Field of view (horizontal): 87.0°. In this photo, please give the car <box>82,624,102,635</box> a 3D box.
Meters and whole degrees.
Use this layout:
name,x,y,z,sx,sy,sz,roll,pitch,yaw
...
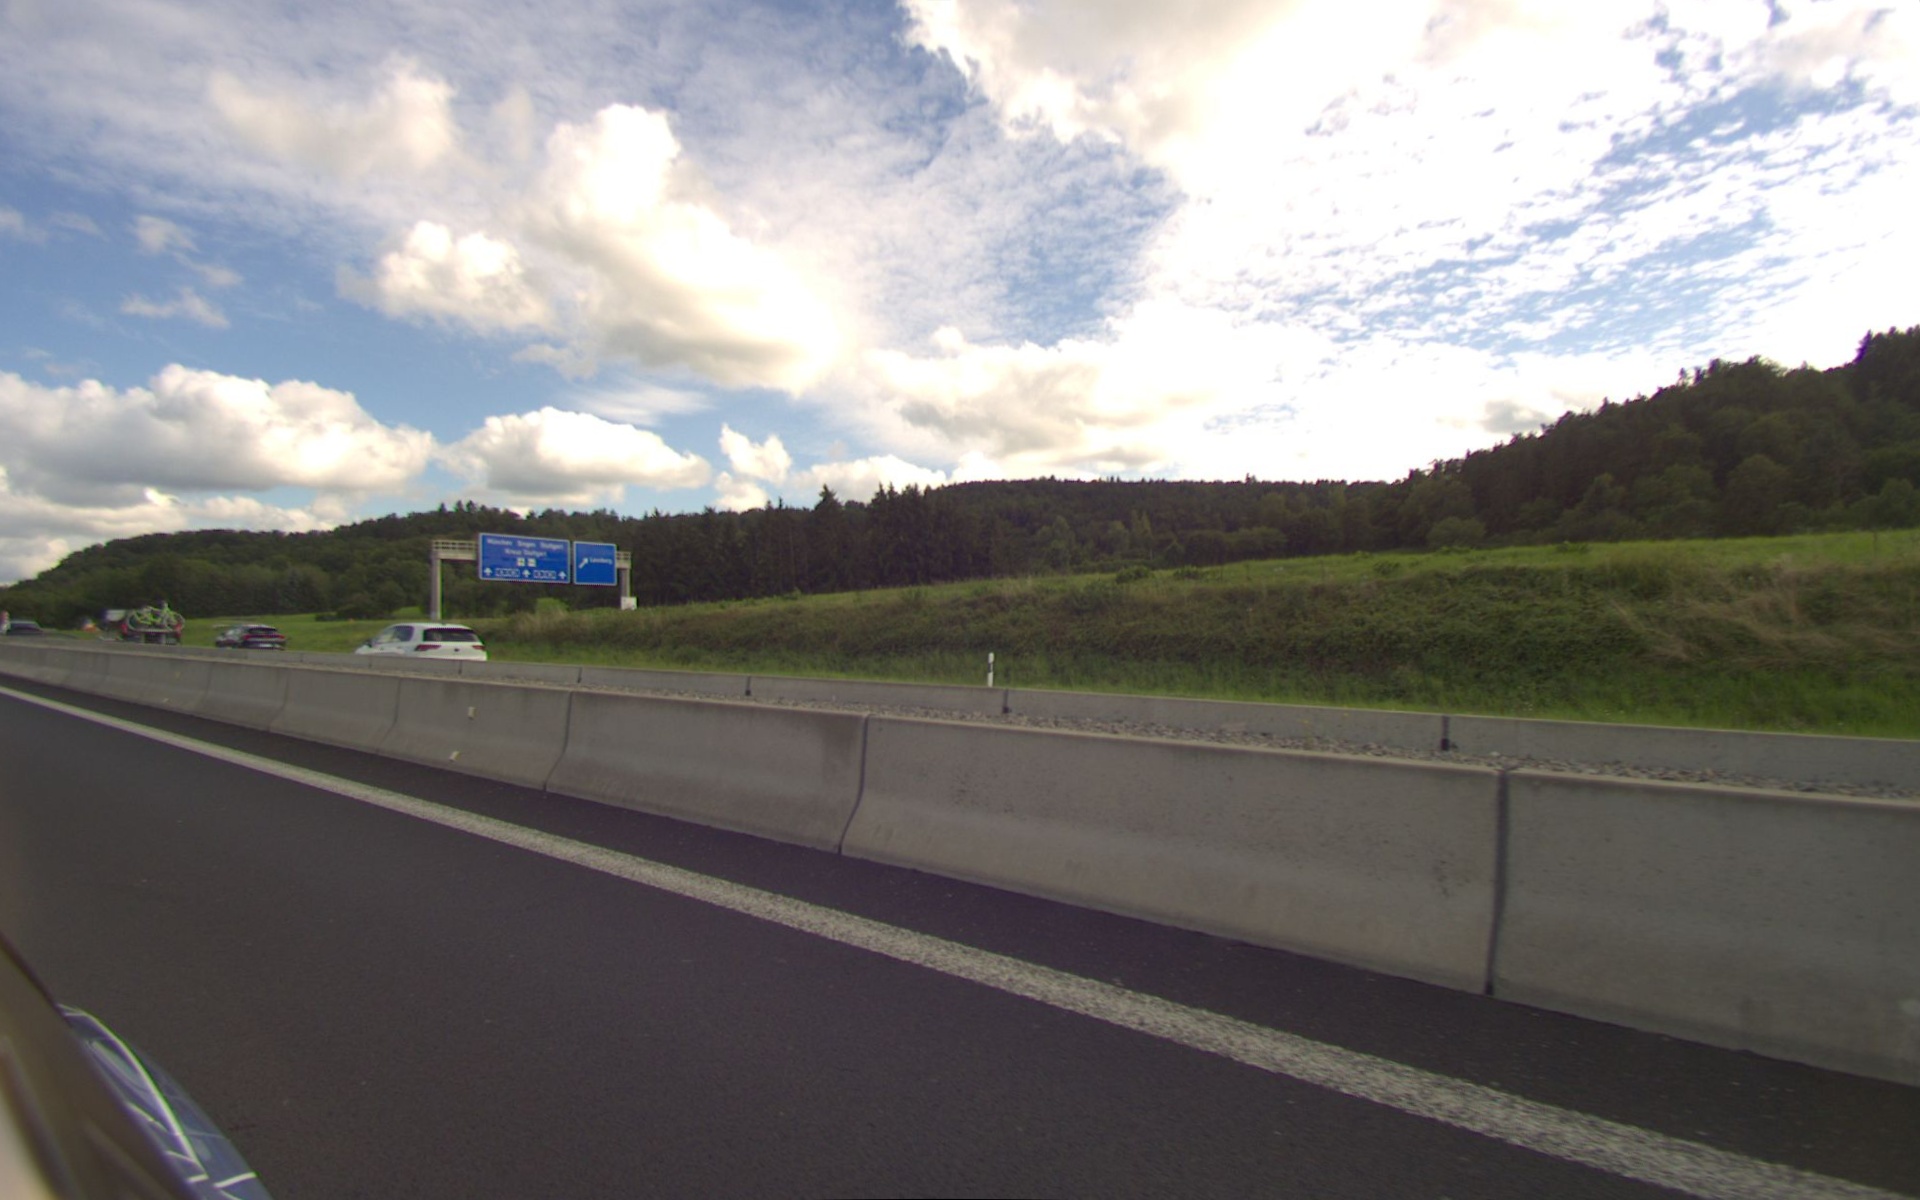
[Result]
name,x,y,z,sx,sy,sz,roll,pitch,yaw
car,-164.840,5.562,192.174,3.993,2.029,1.975,-1,-3,37

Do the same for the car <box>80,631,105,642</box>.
name,x,y,z,sx,sy,sz,roll,pitch,yaw
car,-137.007,5.742,159.811,4.878,1.560,1.757,-1,-3,35

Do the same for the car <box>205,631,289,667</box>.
name,x,y,z,sx,sy,sz,roll,pitch,yaw
car,-31.866,2.153,45.207,4.689,1.490,1.973,-1,-3,41

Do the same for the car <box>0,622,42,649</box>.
name,x,y,z,sx,sy,sz,roll,pitch,yaw
car,-57.517,2.136,61.486,5.362,1.585,1.973,-1,-3,41

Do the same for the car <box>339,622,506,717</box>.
name,x,y,z,sx,sy,sz,roll,pitch,yaw
car,-12.827,1.552,24.028,4.675,2.029,1.973,-1,-2,41

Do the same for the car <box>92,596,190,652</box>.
name,x,y,z,sx,sy,sz,roll,pitch,yaw
car,-32.140,0.951,39.652,5.838,2.029,1.973,-1,-3,41
